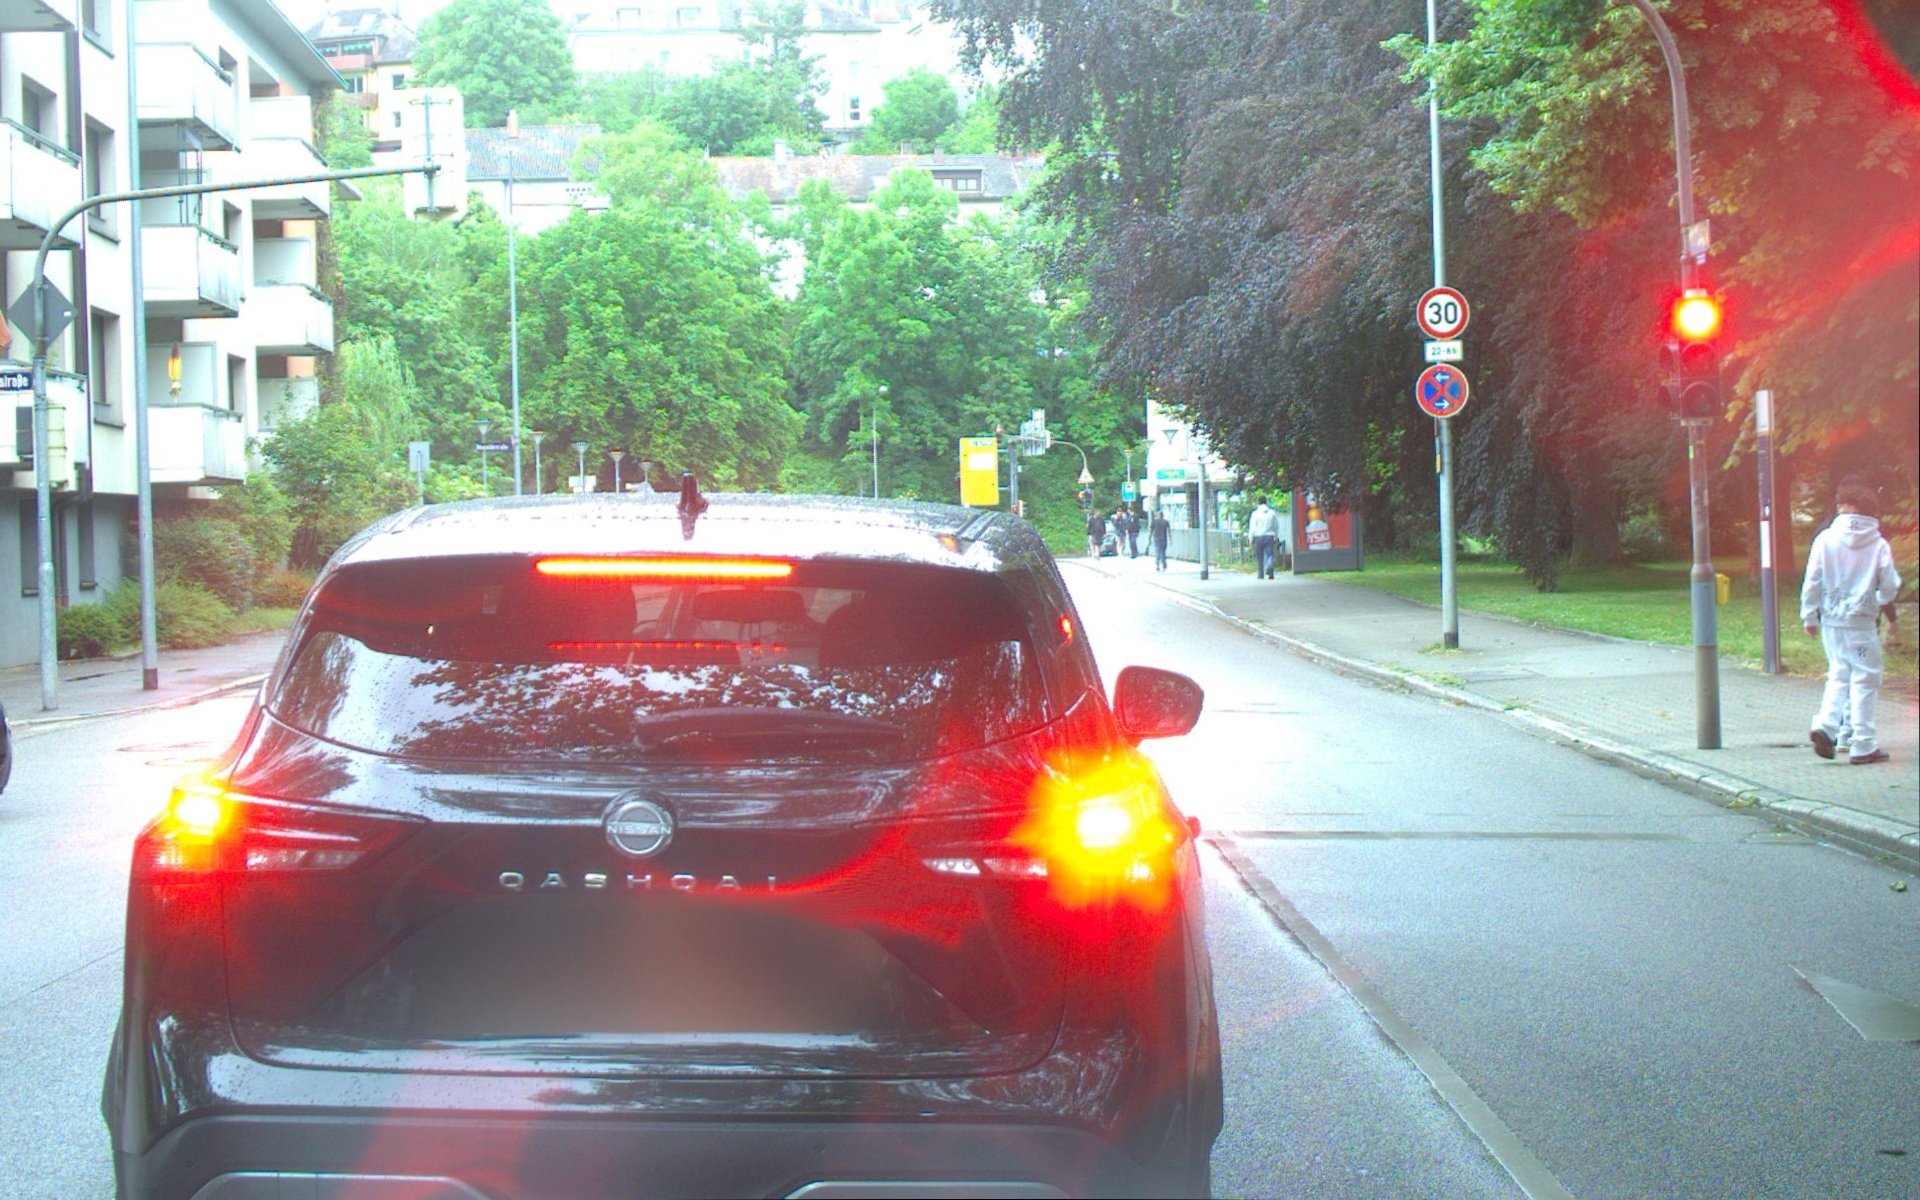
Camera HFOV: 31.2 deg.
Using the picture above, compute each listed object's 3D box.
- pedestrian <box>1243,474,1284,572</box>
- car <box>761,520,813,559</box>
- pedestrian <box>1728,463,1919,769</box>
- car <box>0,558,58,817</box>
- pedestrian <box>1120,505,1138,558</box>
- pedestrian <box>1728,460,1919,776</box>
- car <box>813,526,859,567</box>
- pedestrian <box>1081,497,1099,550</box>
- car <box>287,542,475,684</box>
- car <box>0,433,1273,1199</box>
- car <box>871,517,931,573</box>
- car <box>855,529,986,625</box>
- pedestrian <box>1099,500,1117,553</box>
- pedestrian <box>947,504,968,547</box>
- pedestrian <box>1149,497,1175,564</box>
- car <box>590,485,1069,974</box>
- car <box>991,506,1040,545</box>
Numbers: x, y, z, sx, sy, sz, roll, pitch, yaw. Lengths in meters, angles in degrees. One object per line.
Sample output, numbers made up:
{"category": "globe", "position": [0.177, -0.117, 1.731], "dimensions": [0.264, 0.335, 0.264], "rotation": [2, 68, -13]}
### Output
{"category": "pedestrian", "position": [6.368, -1.614, 72.220], "dimensions": [0.725, 2.007, 0.851], "rotation": [-2, 1, 0]}
{"category": "car", "position": [-7.202, -2.524, 143.483], "dimensions": [1.970, 1.527, 3.968], "rotation": [-2, 1, -1]}
{"category": "pedestrian", "position": [5.618, 0.093, 22.119], "dimensions": [1.035, 1.869, 0.658], "rotation": [-4, 1, -11]}
{"category": "car", "position": [-7.377, 0.567, 21.542], "dimensions": [1.796, 1.528, 3.866], "rotation": [-3, 1, -40]}
{"category": "pedestrian", "position": [5.783, -2.340, 117.604], "dimensions": [0.508, 1.796, 0.619], "rotation": [-2, 1, -2]}
{"category": "pedestrian", "position": [5.446, 0.099, 21.367], "dimensions": [1.035, 1.869, 0.658], "rotation": [-4, 1, -11]}
{"category": "car", "position": [-4.771, -2.078, 132.703], "dimensions": [1.634, 1.527, 3.968], "rotation": [-2, 1, -1]}
{"category": "pedestrian", "position": [4.439, -2.608, 117.524], "dimensions": [0.508, 1.796, 0.619], "rotation": [-2, 1, -1]}
{"category": "car", "position": [-6.829, 0.112, 40.877], "dimensions": [1.795, 1.528, 3.868], "rotation": [-2, 1, -4]}
{"category": "car", "position": [-0.521, 0.555, 7.018], "dimensions": [1.913, 1.674, 4.000], "rotation": [0, 1, 0]}
{"category": "car", "position": [-1.683, -1.588, 98.633], "dimensions": [1.634, 1.527, 3.968], "rotation": [-2, 1, -1]}
{"category": "car", "position": [-0.675, -0.395, 55.197], "dimensions": [1.825, 1.399, 4.651], "rotation": [-2, 1, -3]}
{"category": "pedestrian", "position": [5.077, -2.510, 117.621], "dimensions": [0.508, 1.796, 0.659], "rotation": [-2, 1, -1]}
{"category": "pedestrian", "position": [-0.108, -2.926, 135.106], "dimensions": [0.509, 1.667, 0.658], "rotation": [-2, 1, 27]}
{"category": "pedestrian", "position": [5.516, -1.891, 93.822], "dimensions": [0.509, 1.796, 0.619], "rotation": [-2, 1, 19]}
{"category": "car", "position": [-0.499, 0.439, 14.472], "dimensions": [1.698, 1.739, 3.641], "rotation": [-2, 1, -1]}
{"category": "car", "position": [2.567, -3.404, 157.689], "dimensions": [1.994, 1.729, 3.999], "rotation": [1, 1, 4]}
